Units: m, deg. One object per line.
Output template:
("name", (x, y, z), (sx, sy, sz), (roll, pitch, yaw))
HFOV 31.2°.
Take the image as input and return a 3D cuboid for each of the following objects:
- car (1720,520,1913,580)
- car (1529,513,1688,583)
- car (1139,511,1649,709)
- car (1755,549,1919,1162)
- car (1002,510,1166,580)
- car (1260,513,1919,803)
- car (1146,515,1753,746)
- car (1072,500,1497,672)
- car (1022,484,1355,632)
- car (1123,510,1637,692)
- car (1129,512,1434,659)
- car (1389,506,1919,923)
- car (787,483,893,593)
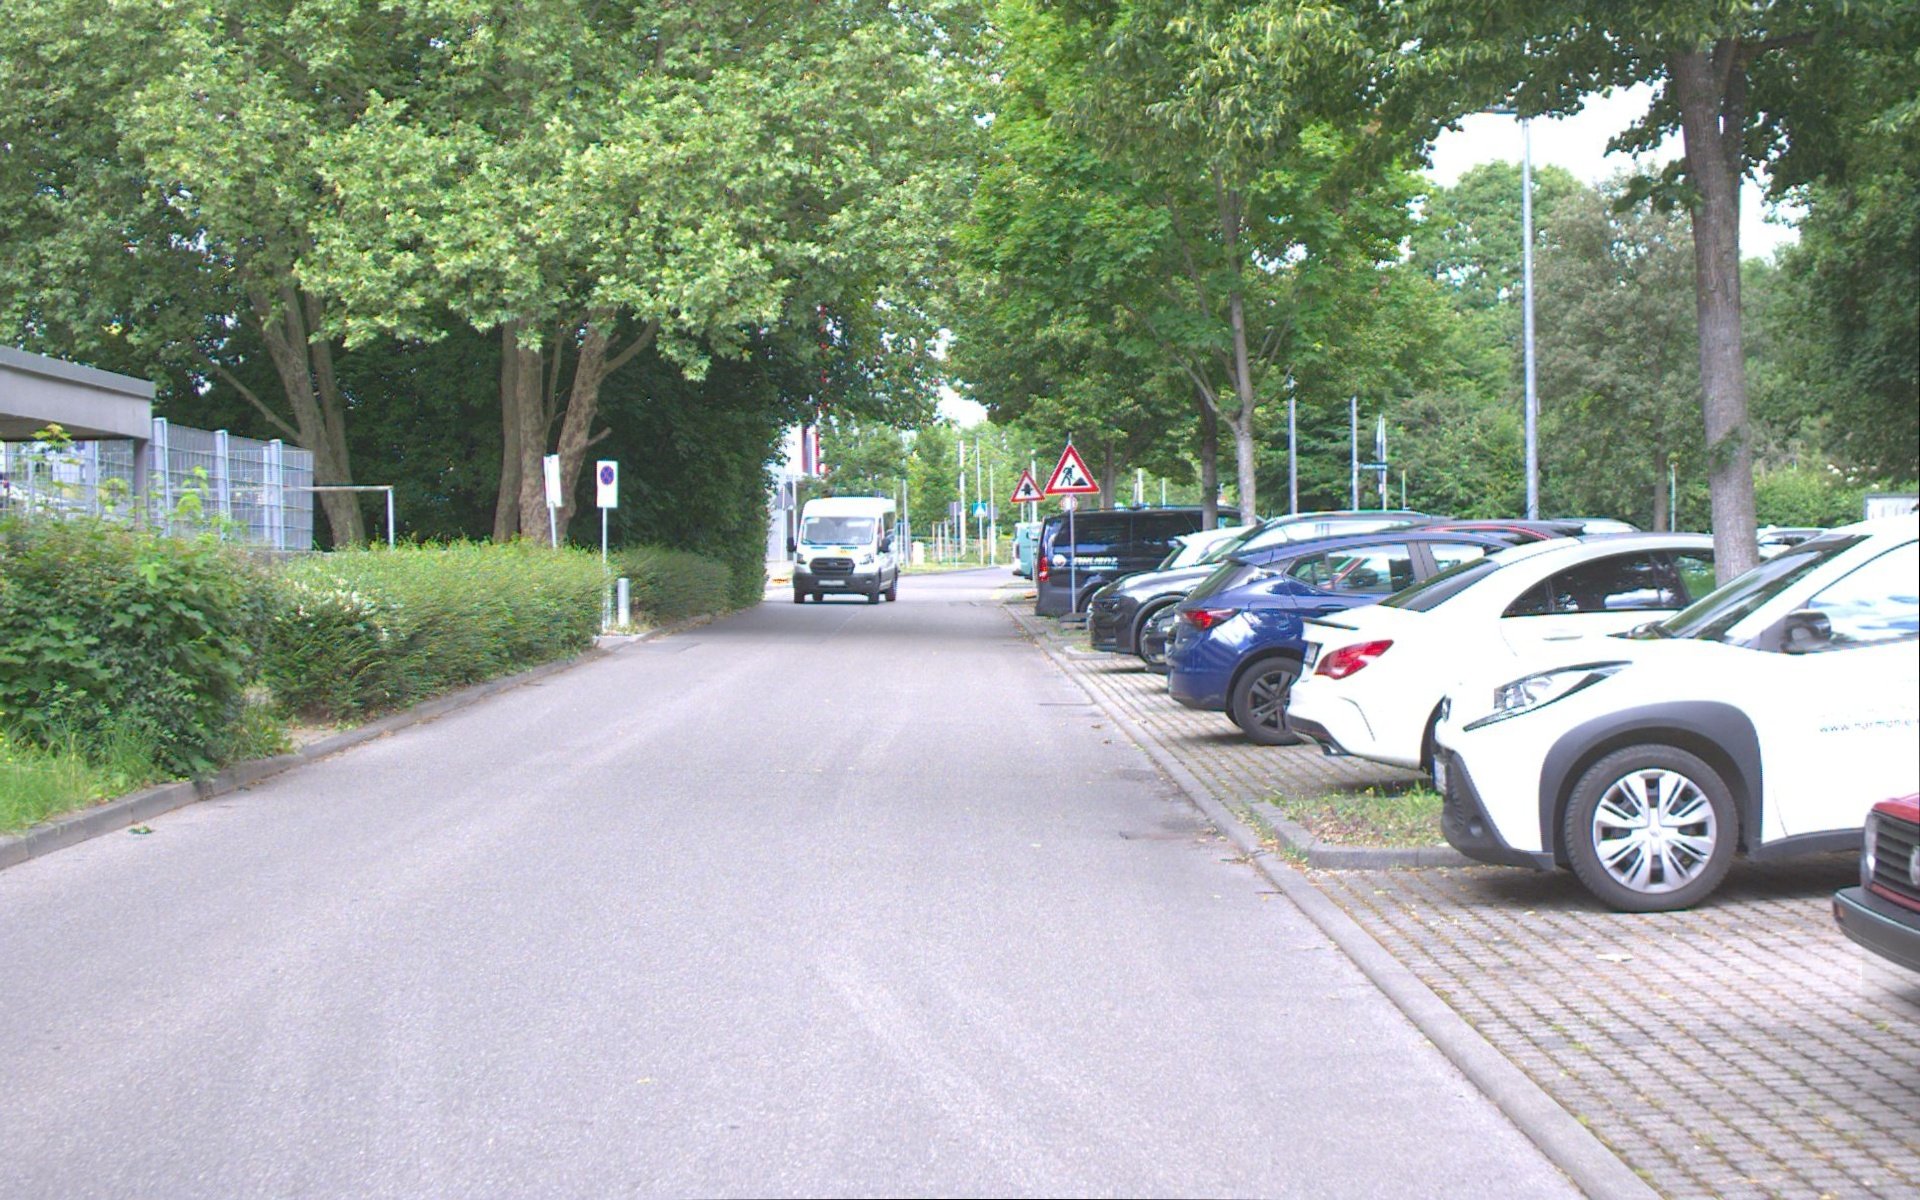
("car", (21.099, -1.228, 84.823), (4.393, 1.423, 1.703), (-1, 1, 6))
("car", (16.090, -1.296, 85.435), (3.780, 1.662, 1.767), (-1, 1, 7))
("car", (3.716, 0.067, 29.885), (4.072, 1.512, 1.851), (-2, 1, -4))
("car", (4.231, 0.524, 8.483), (4.054, 1.417, 1.817), (-2, 1, -1))
("car", (3.816, -1.706, 106.654), (4.972, 1.965, 1.847), (-2, 1, 1))
("car", (4.060, 0.285, 19.591), (4.485, 1.449, 1.846), (-2, 1, 0))
("car", (3.446, 0.198, 24.779), (4.072, 1.451, 1.851), (-2, 1, 1))
("car", (3.509, -0.180, 37.850), (4.415, 1.670, 2.082), (-2, 2, 0))
("car", (3.484, -0.661, 53.247), (4.954, 2.007, 2.166), (-3, 1, 1))
("car", (3.922, -0.015, 32.728), (4.636, 1.512, 1.982), (-2, 2, 2))
("car", (3.746, -0.190, 40.503), (3.379, 1.569, 1.796), (-2, 2, 0))
("car", (3.754, 0.382, 13.839), (3.840, 1.510, 1.881), (-2, 1, 3))
("car", (-2.798, -1.476, 81.243), (2.132, 2.467, 6.277), (1, 1, 1))
